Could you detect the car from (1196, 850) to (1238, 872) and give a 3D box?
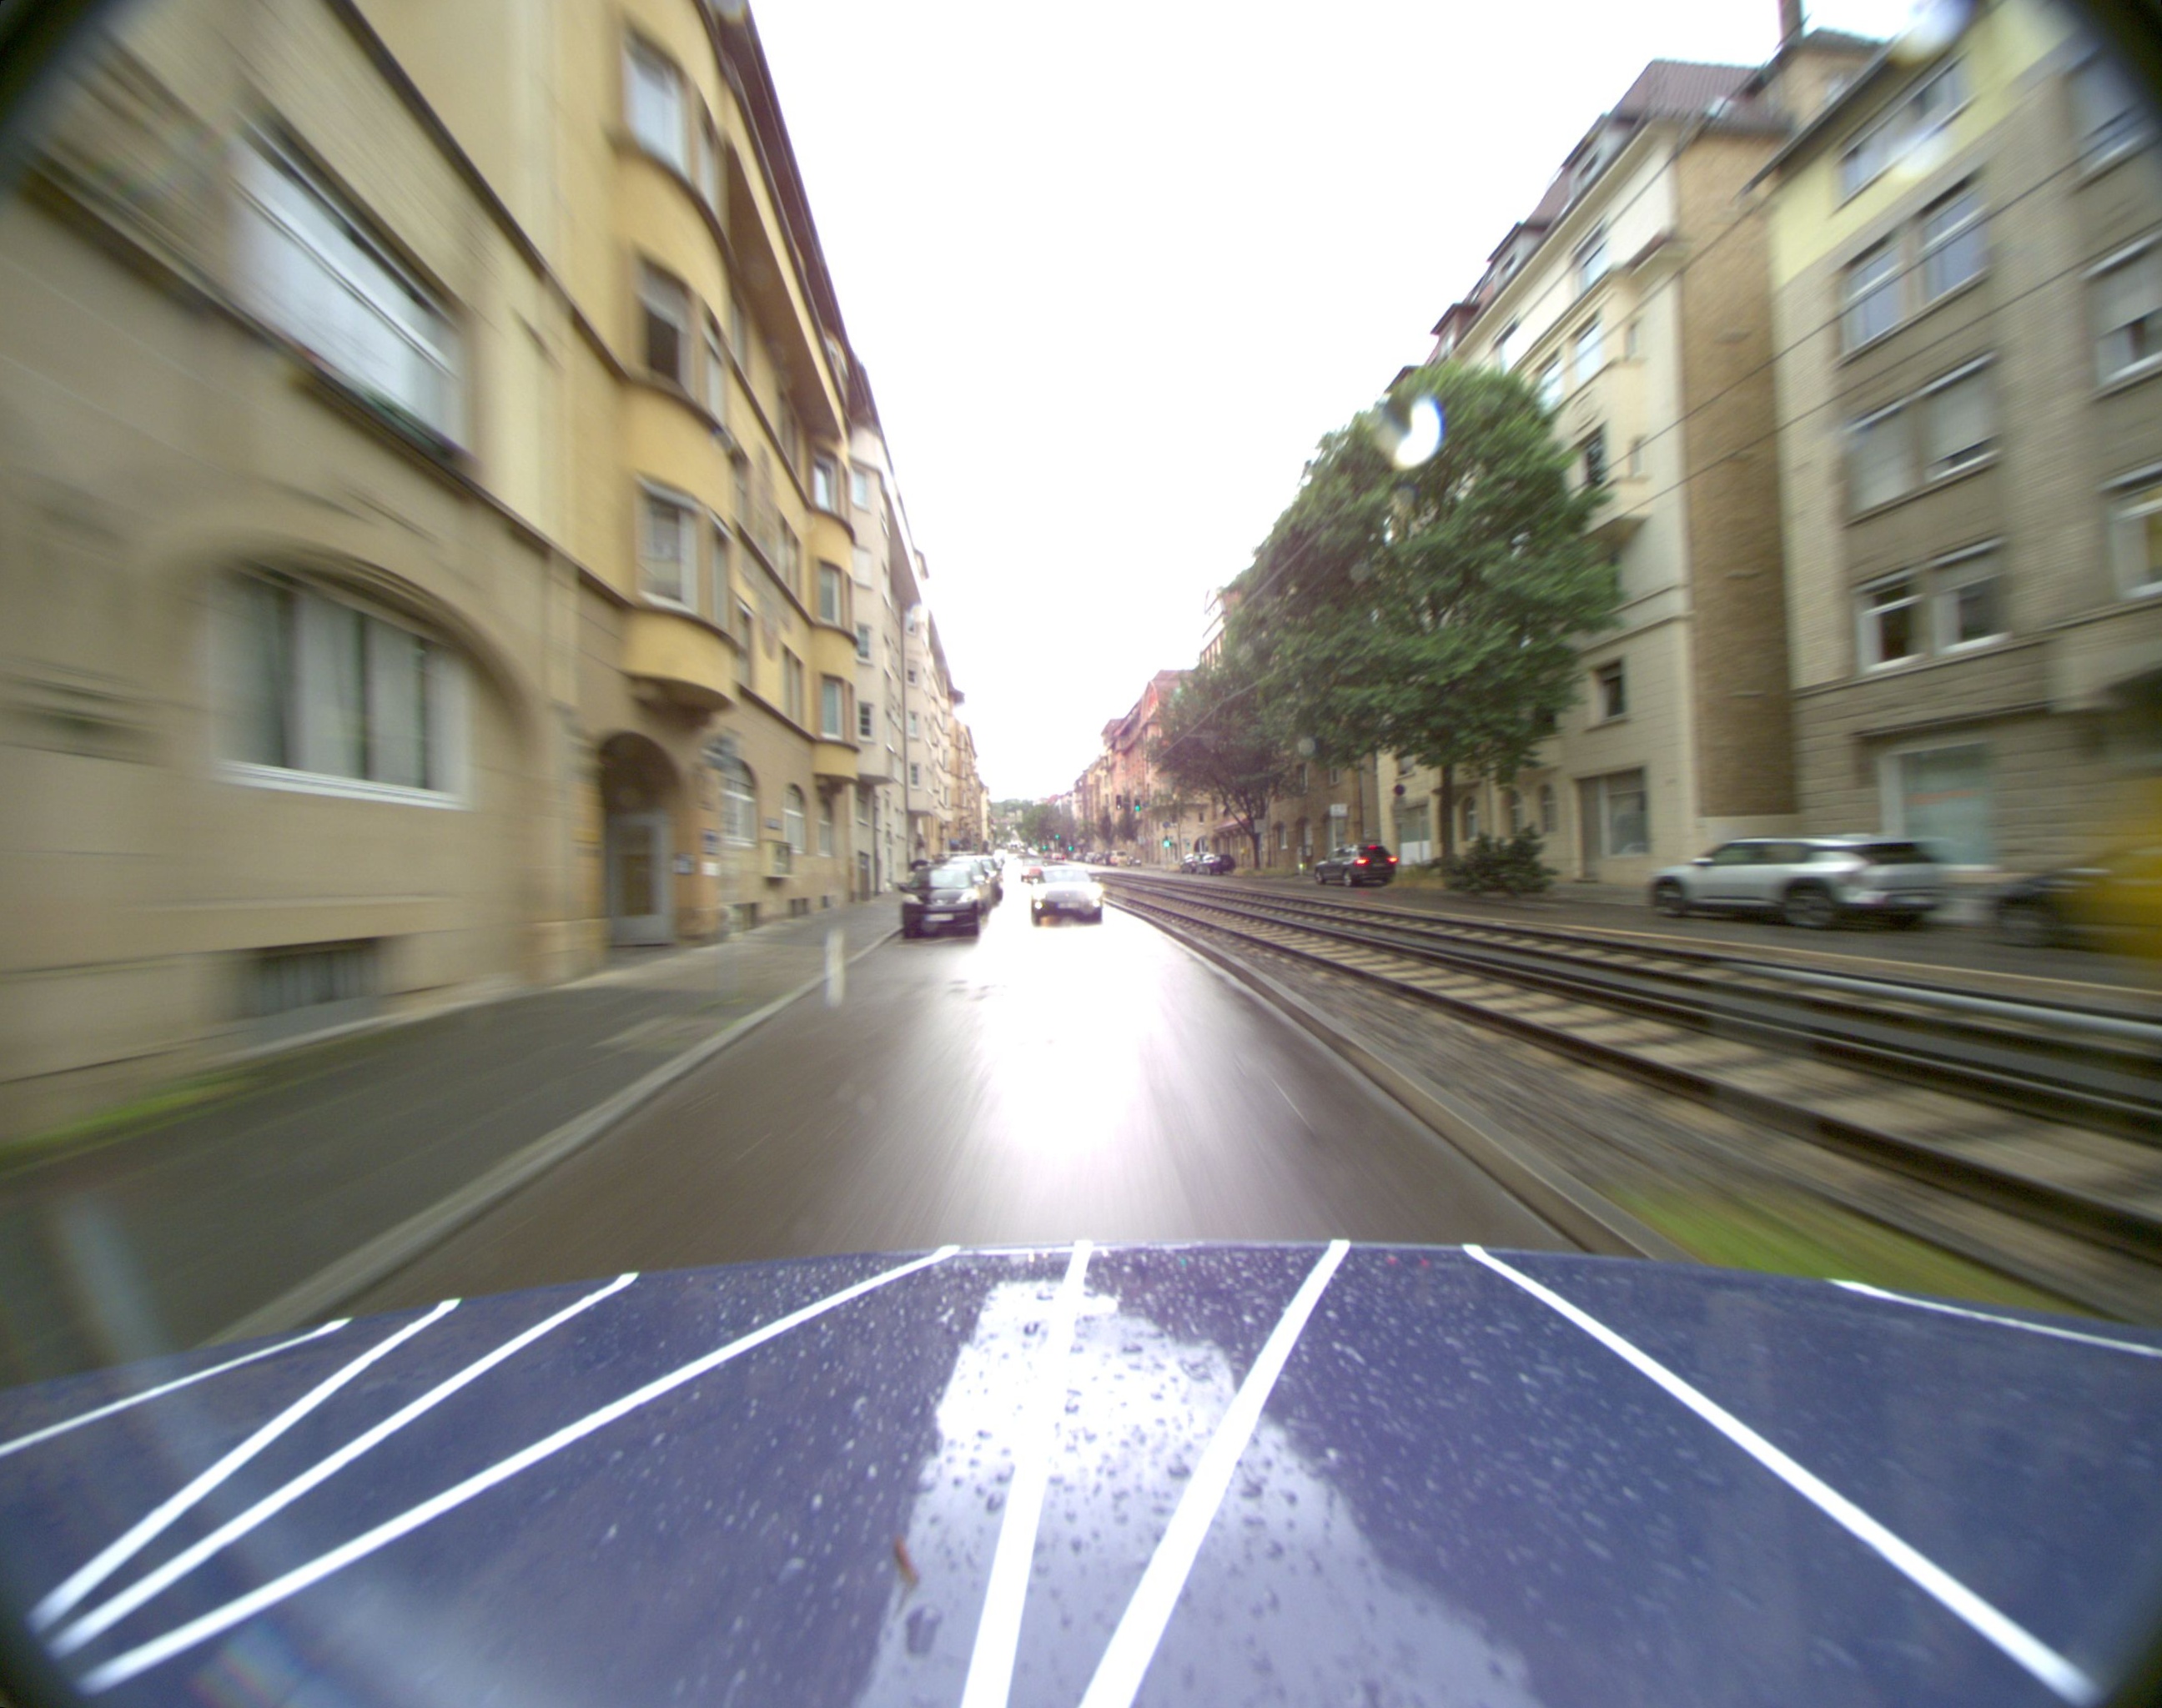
[{"bbox_3d":[9.165,0.446,51.522,1.719,1.426,4.163,-1,1,-6],"label":"car"}]

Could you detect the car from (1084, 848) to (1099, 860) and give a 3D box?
[{"bbox_3d":[1.684,-0.007,126.038,1.999,1.958,3.998,-1,0,-5],"label":"car"}]

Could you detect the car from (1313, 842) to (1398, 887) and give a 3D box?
[{"bbox_3d":[11.050,0.392,30.906,1.649,1.696,4.096,-1,0,-6],"label":"car"}]

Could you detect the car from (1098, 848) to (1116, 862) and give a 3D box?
[{"bbox_3d":[3.740,0.081,110.217,1.999,1.958,3.998,-1,0,-5],"label":"car"}]

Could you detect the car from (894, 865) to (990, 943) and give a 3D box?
[{"bbox_3d":[-2.974,1.018,16.992,1.634,1.443,3.998,-1,0,-4],"label":"car"}]

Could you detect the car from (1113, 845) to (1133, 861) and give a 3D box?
[{"bbox_3d":[5.261,-0.094,95.708,1.999,1.958,3.998,-1,0,-5],"label":"car"}]

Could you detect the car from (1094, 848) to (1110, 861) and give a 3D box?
[{"bbox_3d":[3.137,0.051,115.381,1.999,1.958,3.998,-1,0,-5],"label":"car"}]

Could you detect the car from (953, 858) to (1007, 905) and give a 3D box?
[{"bbox_3d":[-3.587,0.928,27.588,1.649,1.536,4.026,-1,0,-4],"label":"car"}]

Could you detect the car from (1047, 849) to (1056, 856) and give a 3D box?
[{"bbox_3d":[-7.955,-0.443,205.293,1.999,1.958,3.998,-1,0,-5],"label":"car"}]

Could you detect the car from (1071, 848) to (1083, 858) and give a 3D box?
[{"bbox_3d":[-0.823,-0.145,150.484,1.999,1.958,3.998,-1,0,-5],"label":"car"}]

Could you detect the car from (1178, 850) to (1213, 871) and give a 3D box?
[{"bbox_3d":[8.653,0.457,57.558,1.649,1.481,4.163,-1,0,-6],"label":"car"}]

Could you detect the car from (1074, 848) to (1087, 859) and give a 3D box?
[{"bbox_3d":[-0.166,-0.109,143.270,1.999,1.958,3.998,-1,0,-5],"label":"car"}]

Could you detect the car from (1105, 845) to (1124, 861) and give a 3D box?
[{"bbox_3d":[4.512,-0.139,103.110,1.999,1.958,3.998,-1,0,-5],"label":"car"}]

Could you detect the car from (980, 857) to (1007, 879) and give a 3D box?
[{"bbox_3d":[-6.119,0.941,53.590,1.649,1.469,4.026,-1,0,-4],"label":"car"}]

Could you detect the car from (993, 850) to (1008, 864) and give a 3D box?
[{"bbox_3d":[-11.297,0.396,107.172,1.999,1.958,3.998,-1,0,-5],"label":"car"}]

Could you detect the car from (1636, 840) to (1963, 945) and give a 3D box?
[{"bbox_3d":[12.582,0.584,13.779,1.649,1.571,4.337,-1,0,-4],"label":"car"}]

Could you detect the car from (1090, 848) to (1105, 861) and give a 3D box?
[{"bbox_3d":[2.589,0.023,120.060,1.999,1.958,3.998,-1,0,-5],"label":"car"}]

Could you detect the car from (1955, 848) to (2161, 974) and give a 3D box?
[{"bbox_3d":[13.076,0.644,8.800,1.649,1.395,3.631,-1,0,-4],"label":"car"}]

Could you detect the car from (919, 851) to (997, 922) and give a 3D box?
[{"bbox_3d":[-3.386,0.834,21.643,1.742,1.788,4.263,-1,0,-4],"label":"car"}]

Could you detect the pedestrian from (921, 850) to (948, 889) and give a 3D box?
[{"bbox_3d":[-6.699,0.703,34.748,1.126,1.703,1.100,-2,1,-10],"label":"pedestrian"}]

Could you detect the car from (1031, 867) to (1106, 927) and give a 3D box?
[{"bbox_3d":[-0.418,1.041,19.723,1.705,1.280,4.194,-1,0,-4],"label":"car"}]

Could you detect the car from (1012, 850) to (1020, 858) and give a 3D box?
[{"bbox_3d":[-16.906,-0.038,196.495,1.999,1.958,3.998,-1,0,-5],"label":"car"}]

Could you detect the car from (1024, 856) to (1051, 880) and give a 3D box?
[{"bbox_3d":[-2.872,0.907,49.586,1.690,1.451,3.297,1,0,-5],"label":"car"}]

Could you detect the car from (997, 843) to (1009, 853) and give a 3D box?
[{"bbox_3d":[-14.616,-1.195,142.769,1.999,1.761,3.998,-2,1,-3],"label":"car"}]
